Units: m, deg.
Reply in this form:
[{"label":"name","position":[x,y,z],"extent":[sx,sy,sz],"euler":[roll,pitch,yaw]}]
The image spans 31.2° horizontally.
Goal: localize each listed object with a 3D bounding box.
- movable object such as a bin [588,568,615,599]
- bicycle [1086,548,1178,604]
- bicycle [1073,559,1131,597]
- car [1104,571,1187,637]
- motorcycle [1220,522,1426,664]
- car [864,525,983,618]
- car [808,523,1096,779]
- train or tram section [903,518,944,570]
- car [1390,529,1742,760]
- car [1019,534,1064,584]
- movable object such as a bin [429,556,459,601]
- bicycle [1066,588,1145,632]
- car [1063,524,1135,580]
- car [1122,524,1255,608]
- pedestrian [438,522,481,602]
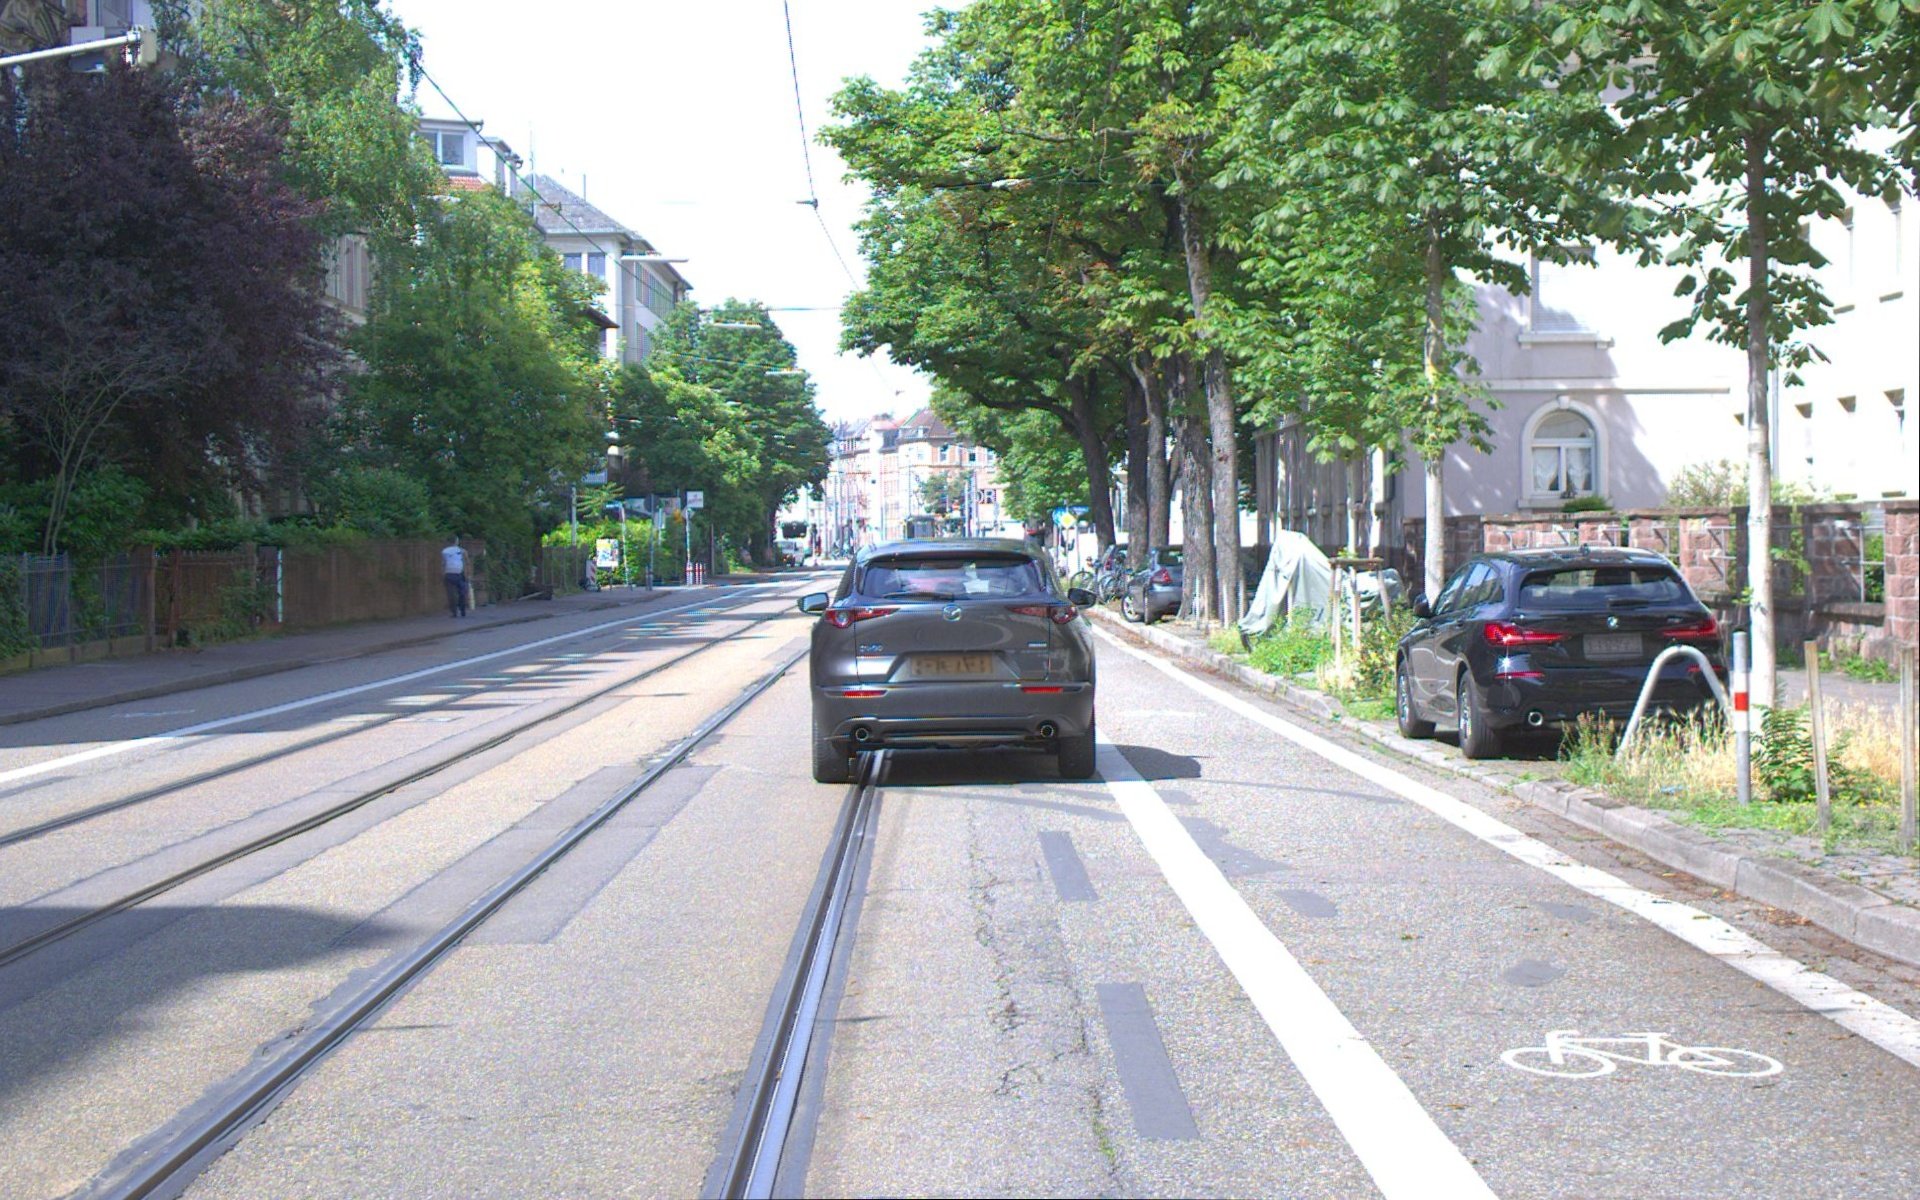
[{"label":"movable object such as a bin","position":[-11.554,-0.540,110.932],"extent":[0.745,0.984,1.114],"euler":[2,1,0]},{"label":"bicycle","position":[3.791,-0.522,75.891],"extent":[1.938,1.172,0.513],"euler":[-2,0,12]},{"label":"bicycle","position":[3.733,-0.573,90.162],"extent":[1.491,0.980,0.259],"euler":[-1,0,2]},{"label":"car","position":[4.331,0.071,80.627],"extent":[1.666,1.425,3.766],"euler":[-3,1,0]},{"label":"motorcycle","position":[4.253,-0.105,40.419],"extent":[2.385,1.592,0.677],"euler":[2,2,38]},{"label":"car","position":[-0.642,-0.506,60.524],"extent":[1.993,1.523,4.000],"euler":[2,1,-1]},{"label":"car","position":[-0.069,0.279,22.510],"extent":[1.720,1.521,3.590],"euler":[-1,1,-1]},{"label":"train or tram section","position":[-2.790,-4.211,257.891],"extent":[2.571,3.760,13.027],"euler":[-1,1,-3]},{"label":"car","position":[4.250,0.266,24.717],"extent":[1.706,1.474,4.197],"euler":[2,1,-1]},{"label":"car","position":[3.273,-1.674,138.904],"extent":[1.720,1.962,4.207],"euler":[-1,1,0]},{"label":"movable object such as a bin","position":[-12.629,-0.530,84.154],"extent":[0.538,1.090,0.789],"euler":[-1,1,4]},{"label":"bicycle","position":[3.582,0.247,84.651],"extent":[1.903,1.068,0.402],"euler":[-1,1,0]},{"label":"car","position":[4.917,-1.717,122.360],"extent":[1.786,1.932,4.992],"euler":[-1,1,-6]},{"label":"car","position":[4.141,-0.630,62.960],"extent":[1.846,1.404,4.395],"euler":[-3,1,-3]},{"label":"pedestrian","position":[-10.744,-0.814,73.807],"extent":[0.822,1.700,0.891],"euler":[-1,1,-3]}]
